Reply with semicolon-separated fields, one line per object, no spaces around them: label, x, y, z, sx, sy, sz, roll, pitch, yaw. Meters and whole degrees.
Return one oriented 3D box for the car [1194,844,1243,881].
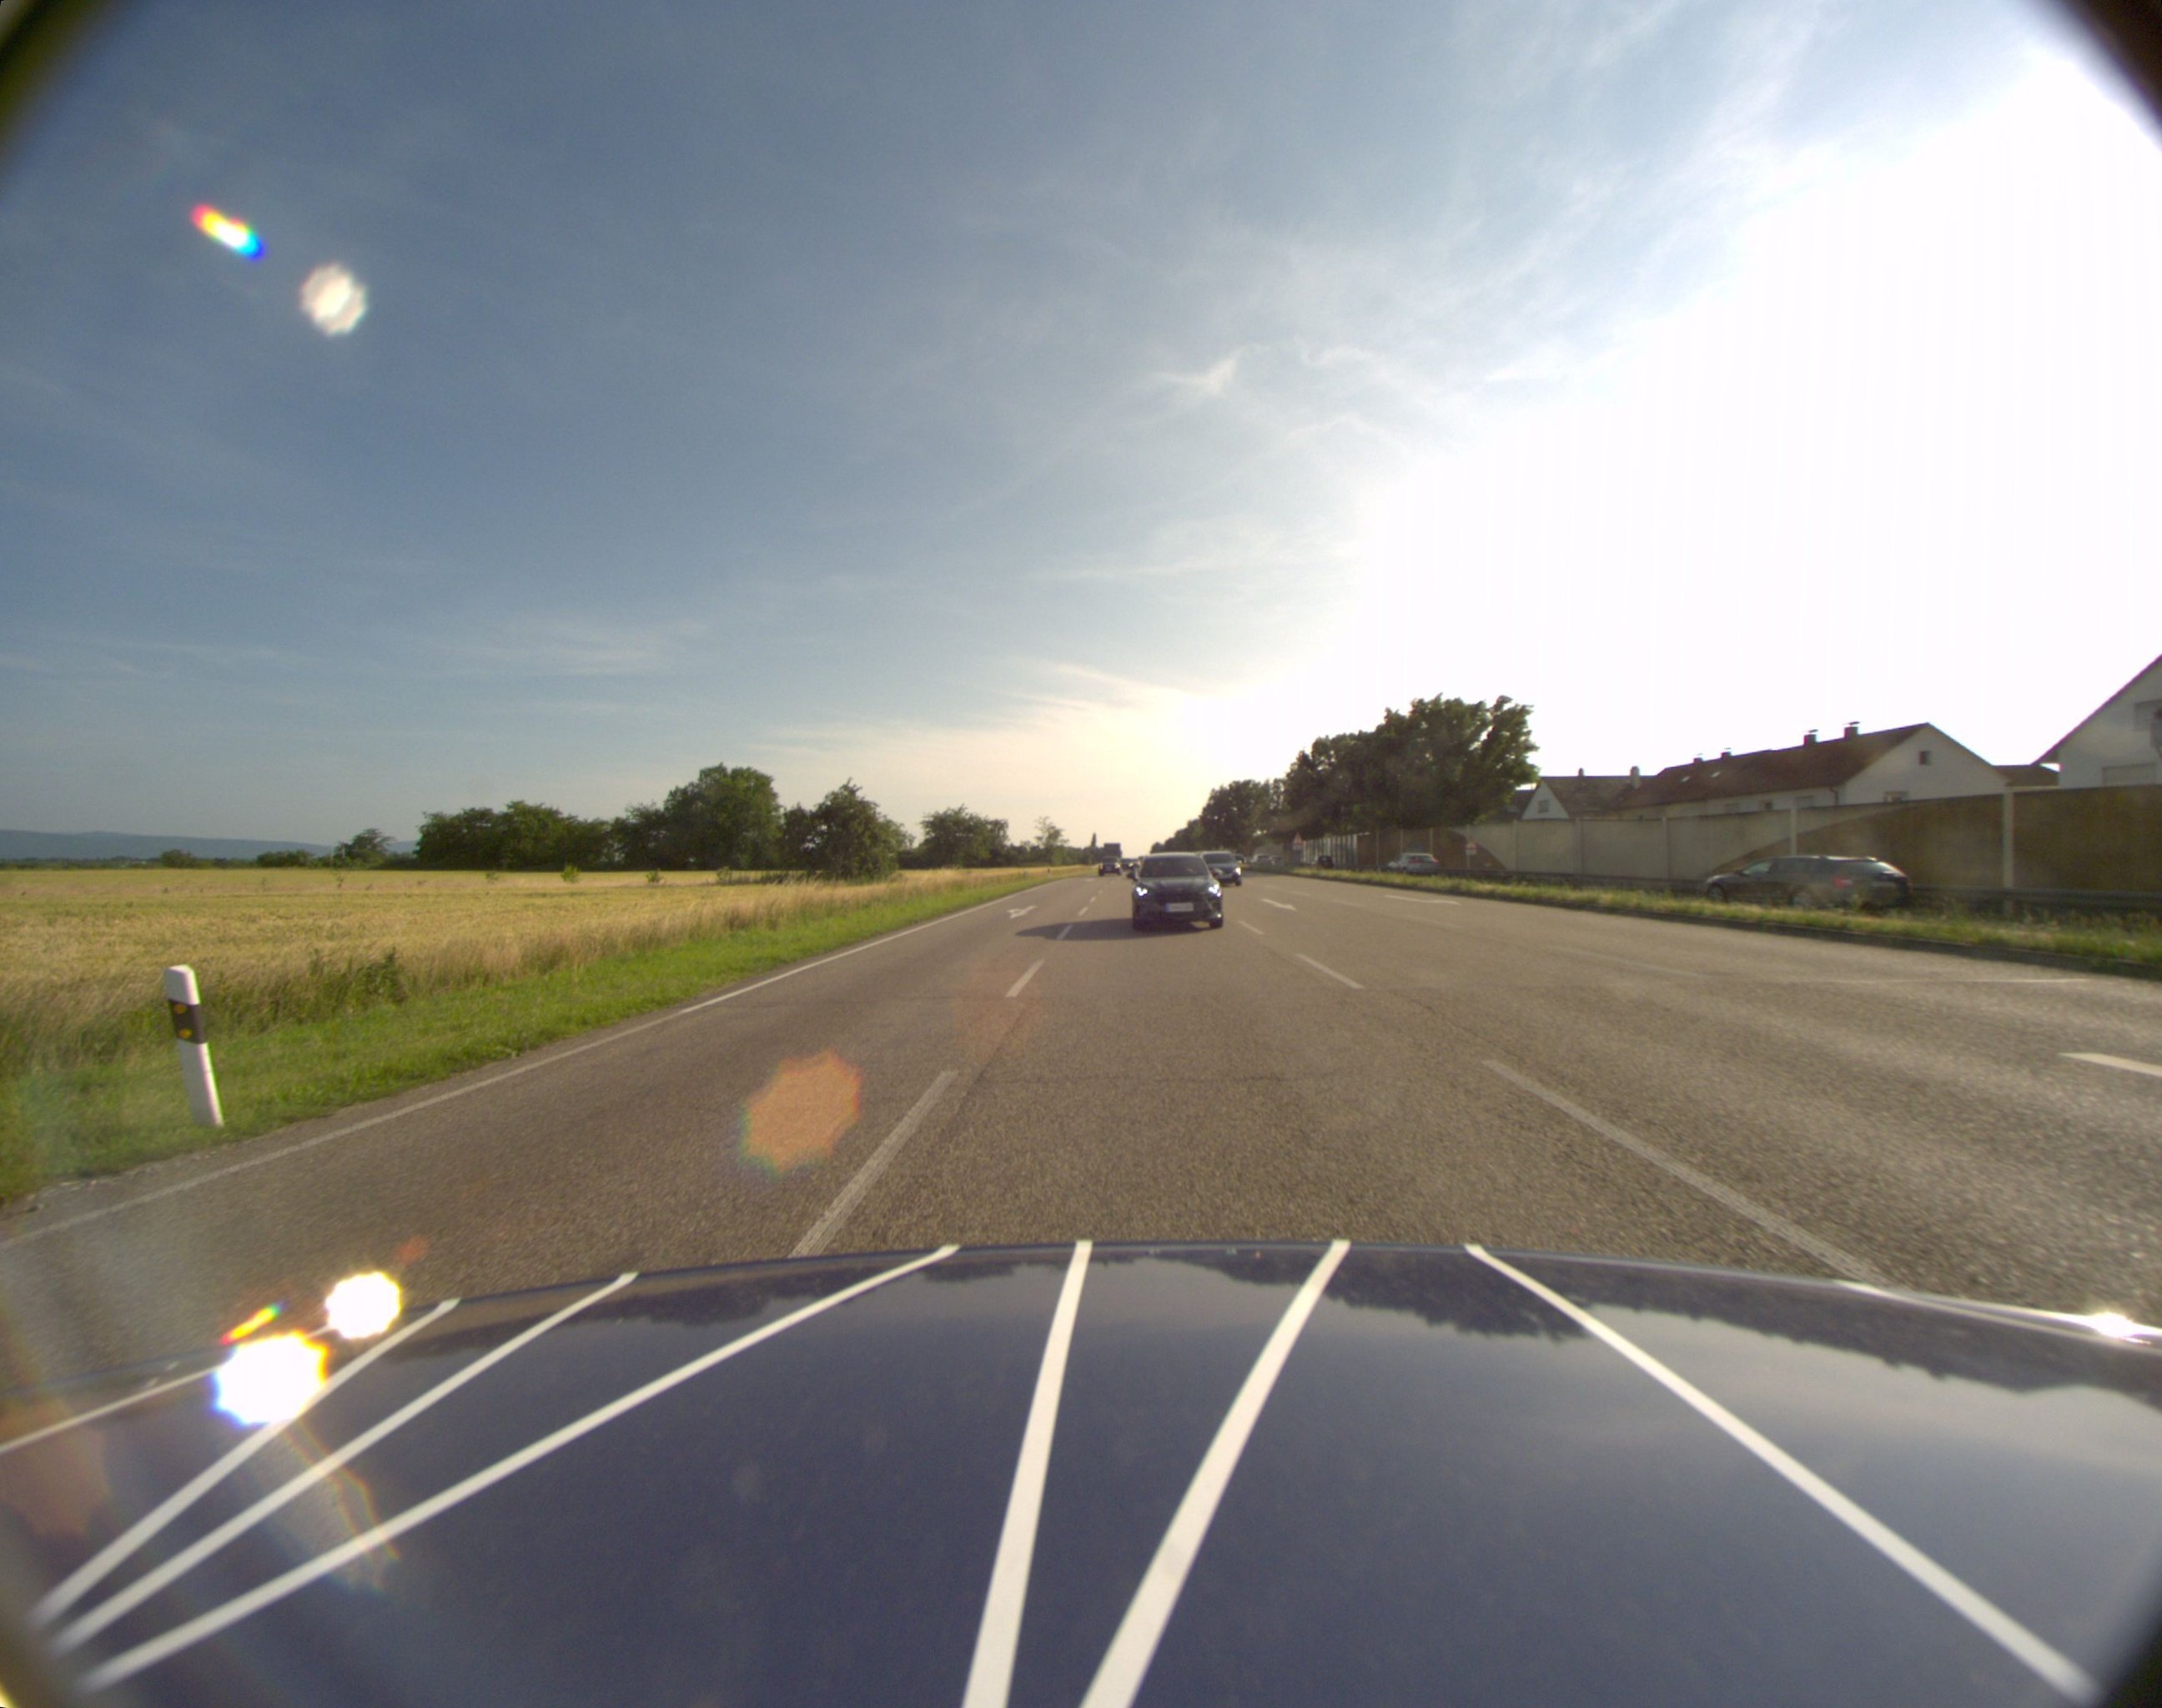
car;6.551;0.365;36.556;1.776;1.612;4.682;-1;1;4

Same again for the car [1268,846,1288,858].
car;23.080;-0.227;89.125;1.542;1.353;3.498;1;1;1

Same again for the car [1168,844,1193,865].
car;8.143;0.009;62.246;1.748;1.537;4.000;-2;1;4

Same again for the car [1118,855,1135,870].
car;5.061;0.907;84.619;1.686;1.565;3.817;-2;1;1

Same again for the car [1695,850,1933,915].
car;18.360;0.633;19.393;1.793;1.375;4.554;-2;1;3

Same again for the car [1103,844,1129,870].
car;2.842;0.196;62.670;1.998;2.002;3.999;-2;1;1

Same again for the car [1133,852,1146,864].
car;8.939;0.652;115.940;1.756;1.724;4.001;-2;1;4

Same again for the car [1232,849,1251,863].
car;20.103;0.211;95.172;1.685;1.565;3.818;-2;1;4

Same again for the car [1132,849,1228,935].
car;2.072;0.724;16.946;1.790;1.594;4.340;-2;1;4

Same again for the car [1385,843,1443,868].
car;20.107;0.059;46.039;1.739;1.346;3.999;-2;1;1

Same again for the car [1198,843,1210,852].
car;22.236;-1.207;137.222;1.685;1.565;3.818;-2;1;4

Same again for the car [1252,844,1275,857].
car;18.252;-0.341;76.172;1.634;1.215;3.504;1;1;3

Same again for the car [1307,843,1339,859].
car;21.814;-0.273;68.678;1.867;1.345;3.775;1;1;4

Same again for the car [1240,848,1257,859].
car;24.229;-0.113;110.001;1.685;1.565;3.818;-2;1;4
